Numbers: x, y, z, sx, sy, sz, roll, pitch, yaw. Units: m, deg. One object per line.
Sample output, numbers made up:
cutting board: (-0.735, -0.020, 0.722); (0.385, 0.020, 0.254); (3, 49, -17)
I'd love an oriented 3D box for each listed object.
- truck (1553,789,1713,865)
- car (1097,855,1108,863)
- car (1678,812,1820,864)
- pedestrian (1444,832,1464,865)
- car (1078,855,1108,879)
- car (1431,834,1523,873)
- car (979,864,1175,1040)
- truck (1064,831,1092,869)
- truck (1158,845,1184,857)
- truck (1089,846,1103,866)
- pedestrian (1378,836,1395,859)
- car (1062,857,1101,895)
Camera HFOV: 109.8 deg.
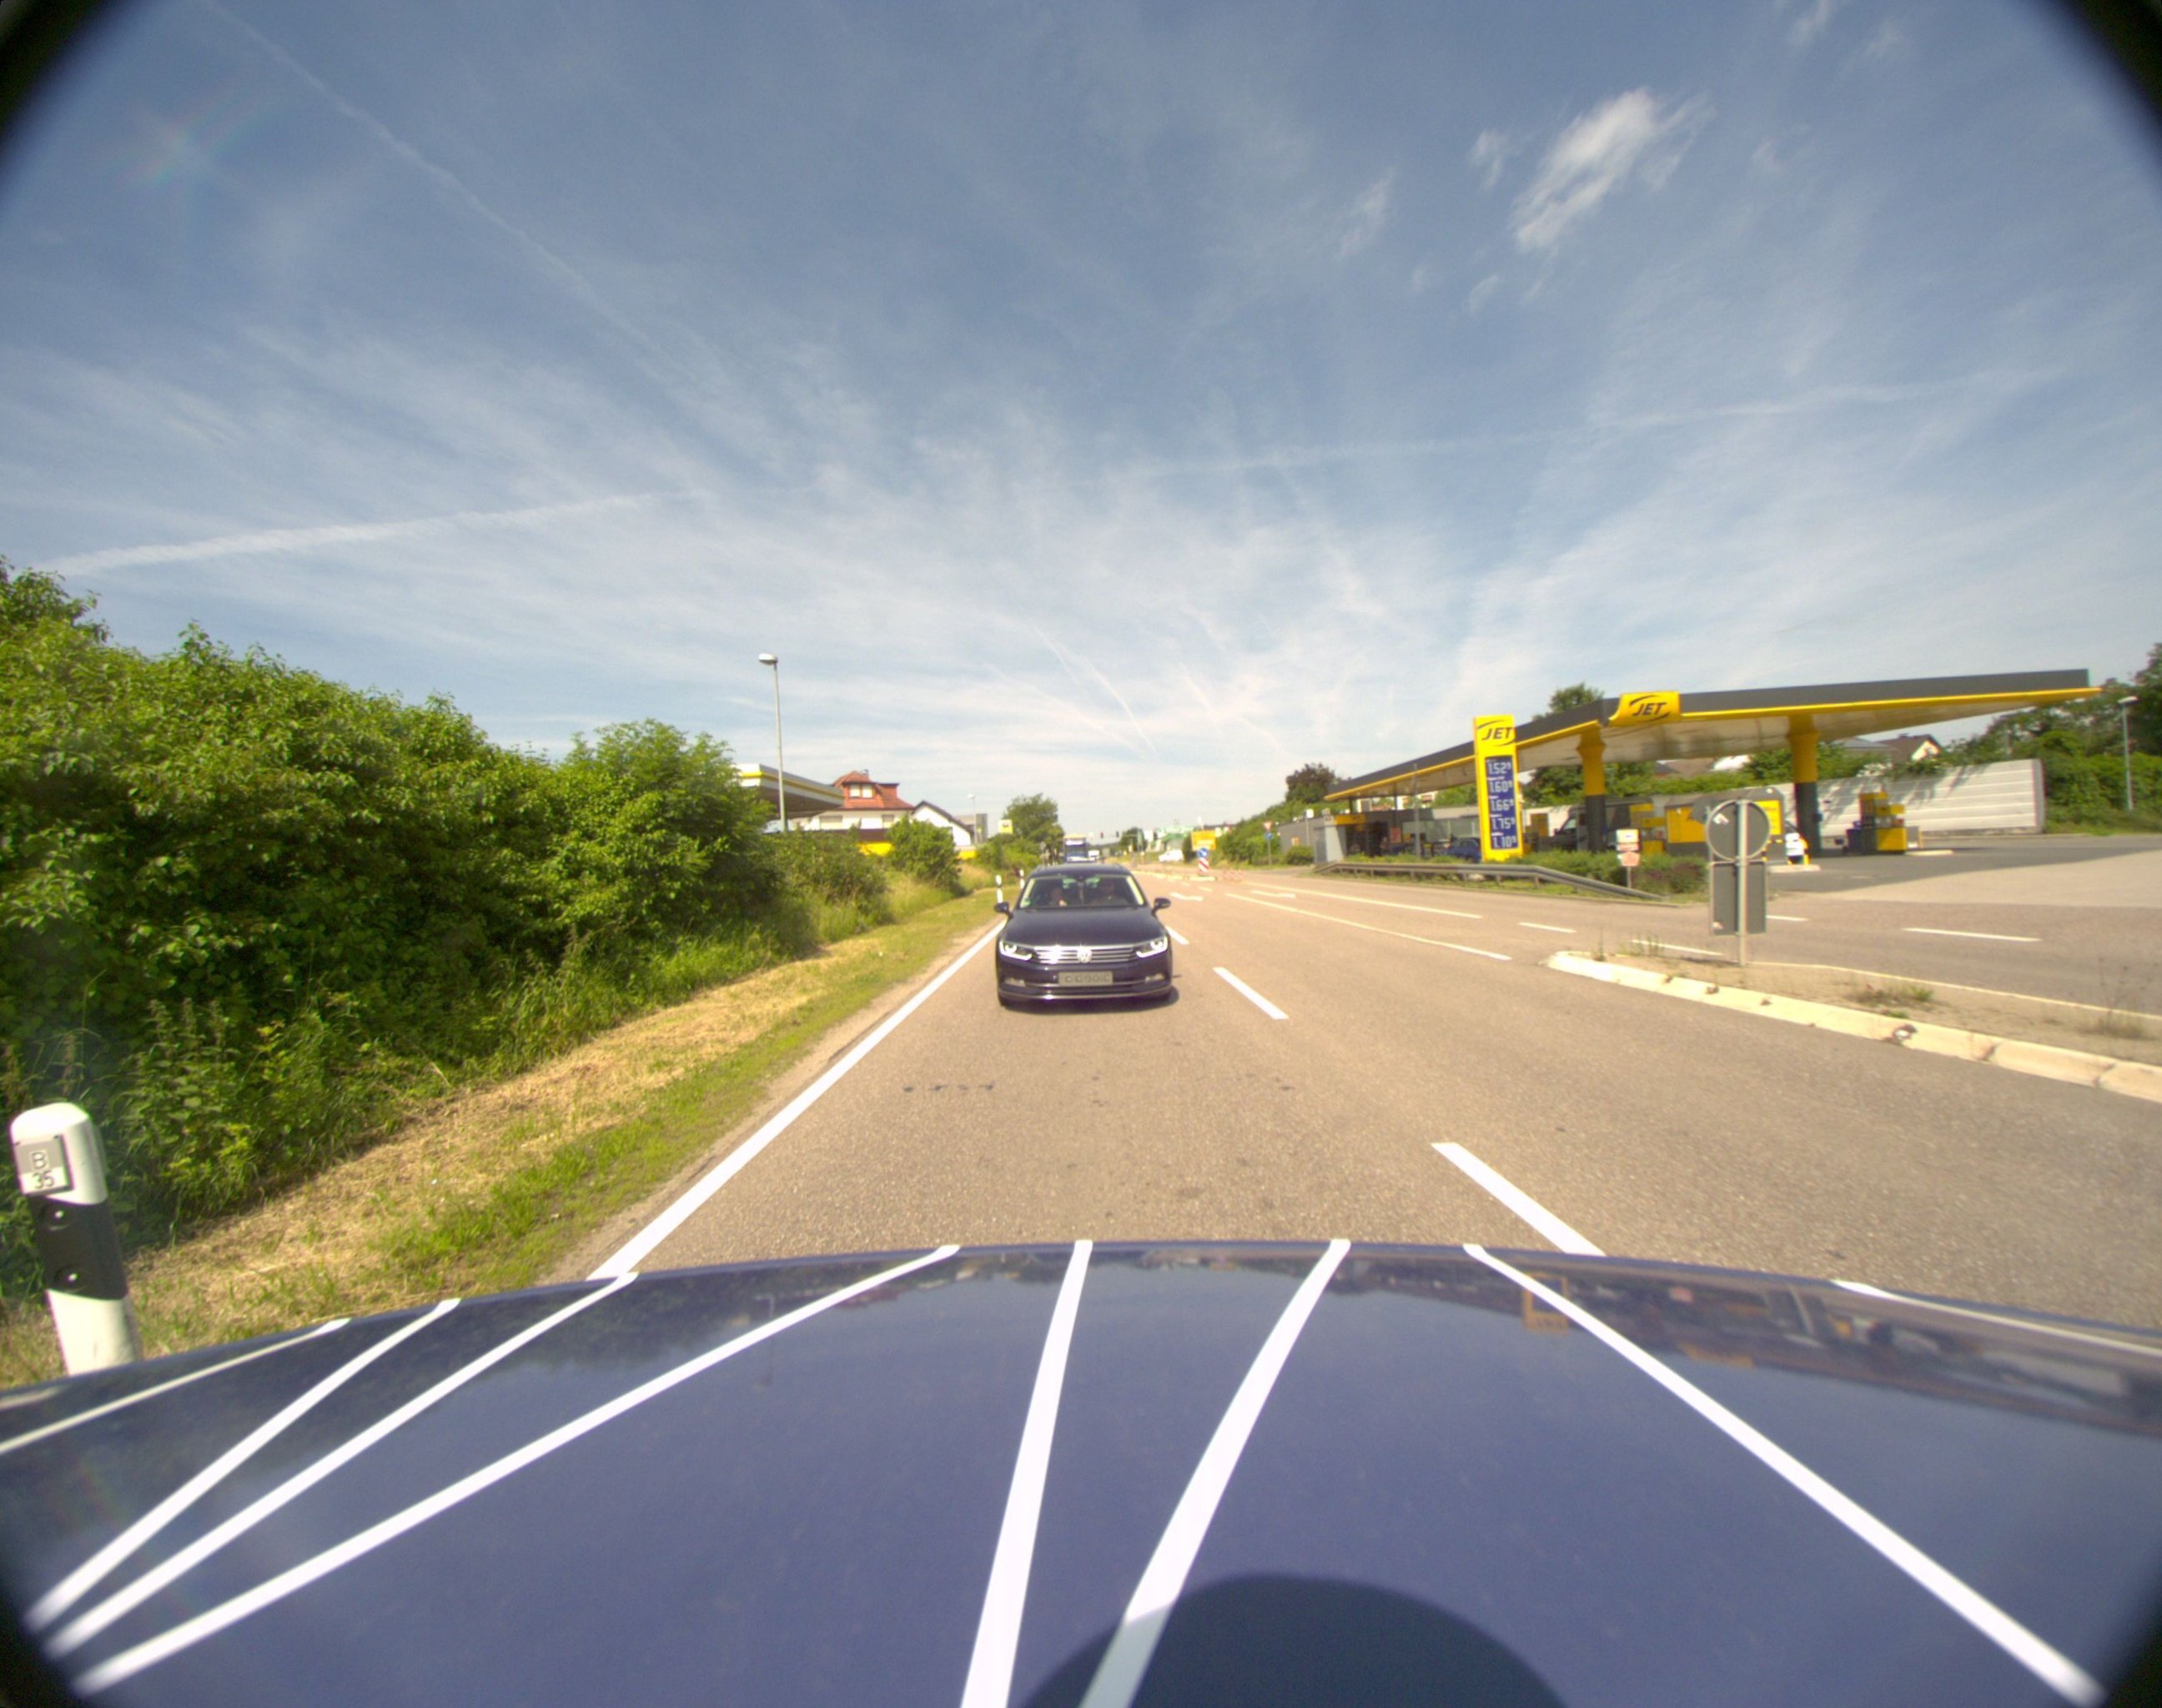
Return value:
truck: (23.623, -1.097, 32.954); (2.250, 2.906, 6.282); (-2, 1, -1)
car: (3.528, 0.858, 125.475); (1.786, 1.210, 4.000); (-3, 0, 2)
car: (24.043, -0.512, 27.561); (1.736, 1.717, 4.001); (-1, 0, 3)
pedestrian: (21.254, -0.331, 43.303); (0.798, 1.827, 0.640); (-3, 0, 1)
car: (0.800, 0.832, 50.265); (1.814, 1.466, 3.974); (-2, 0, 1)
car: (18.797, -0.013, 36.313); (1.999, 1.696, 4.264); (-2, 0, -3)
car: (-0.012, 0.941, 9.481); (1.756, 1.493, 4.925); (-2, 0, 1)
truck: (-0.268, -0.441, 89.889); (2.855, 3.999, 12.916); (-2, 0, 1)
truck: (17.606, -0.591, 148.292); (4.771, 1.997, 2.000); (-3, 0, 1)
truck: (3.291, 0.450, 166.533); (2.855, 3.999, 12.916); (-2, 0, 1)
pedestrian: (18.815, -0.404, 46.762); (0.913, 1.419, 0.495); (-2, 1, 17)
car: (0.073, 0.911, 32.721); (1.471, 1.451, 3.798); (-2, 0, 3)
